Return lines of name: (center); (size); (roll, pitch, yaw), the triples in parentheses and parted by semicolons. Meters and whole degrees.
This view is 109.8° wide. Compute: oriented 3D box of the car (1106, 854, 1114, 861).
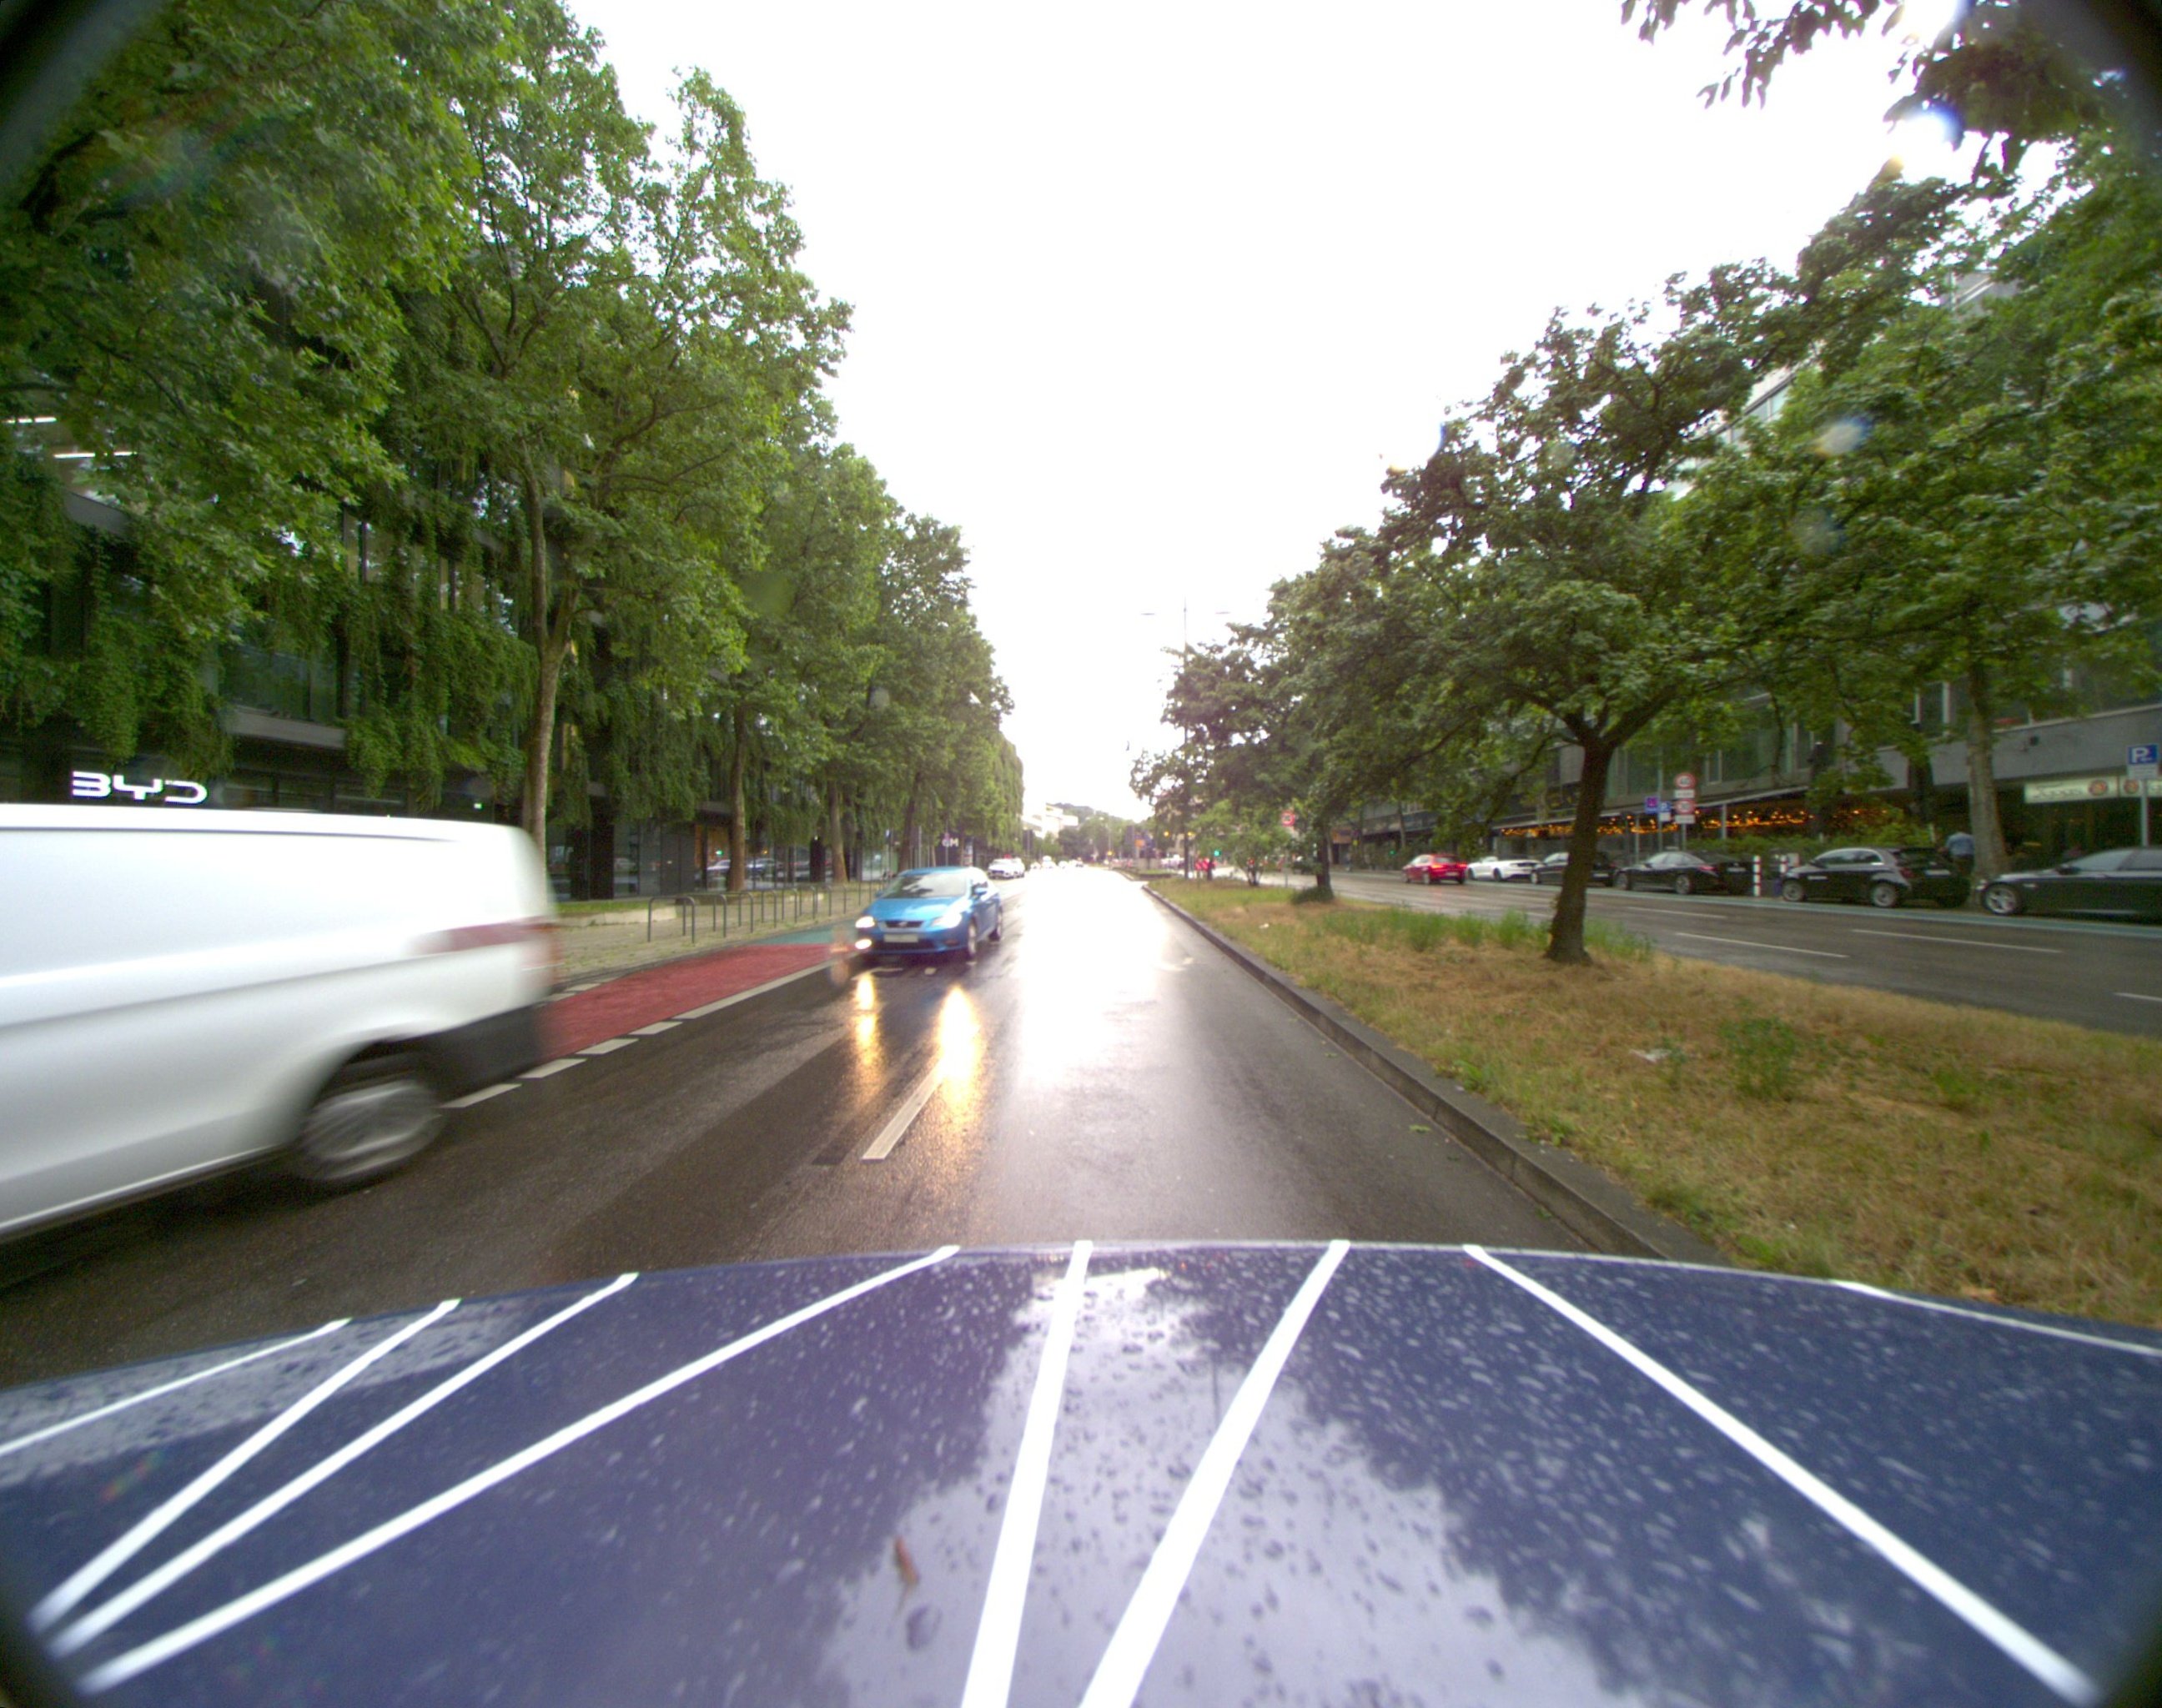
car: (8.157, 1.051, 212.852); (1.998, 1.838, 4.000); (-2, 1, 4)

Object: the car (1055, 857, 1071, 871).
car: (-2.194, 1.261, 95.446); (1.780, 1.546, 3.929); (-2, 1, 1)

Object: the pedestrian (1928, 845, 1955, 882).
pedestrian: (27.555, 0.307, 24.337); (0.444, 1.179, 0.468); (-1, 2, 32)

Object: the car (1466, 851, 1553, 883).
car: (20.748, 0.599, 37.018); (1.881, 1.318, 4.392); (-2, 1, 2)

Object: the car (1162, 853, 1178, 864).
car: (12.605, 0.588, 107.421); (1.678, 1.381, 3.527); (-2, 1, -2)

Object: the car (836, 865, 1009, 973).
car: (-2.483, 0.978, 12.974); (1.799, 1.428, 4.063); (-1, 1, 4)

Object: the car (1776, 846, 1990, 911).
car: (20.014, 0.559, 19.190); (1.875, 1.414, 3.400); (-2, 1, 2)

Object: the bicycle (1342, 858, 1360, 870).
bicycle: (21.208, 0.775, 59.670); (0.715, 0.838, 2.231); (-2, 1, 4)

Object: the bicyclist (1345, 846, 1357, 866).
bicyclist: (21.191, 0.175, 59.683); (0.715, 1.561, 0.609); (-2, 1, 4)

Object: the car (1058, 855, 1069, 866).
car: (-2.709, 0.993, 120.134); (1.556, 1.534, 3.663); (-2, 1, 1)

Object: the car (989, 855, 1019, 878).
car: (-6.468, 1.019, 64.294); (1.932, 1.726, 4.598); (-2, 1, 0)

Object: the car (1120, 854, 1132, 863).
car: (7.917, 0.714, 133.550); (1.649, 1.450, 3.459); (-2, 1, -2)

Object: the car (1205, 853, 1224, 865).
car: (17.245, 0.610, 98.472); (1.678, 1.381, 3.527); (-2, 1, -2)

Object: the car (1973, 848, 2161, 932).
car: (19.879, 0.627, 13.948); (1.875, 1.377, 4.537); (-2, 1, 5)

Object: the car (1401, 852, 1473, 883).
car: (17.082, 0.629, 36.643); (1.765, 1.318, 3.738); (-2, 1, 2)

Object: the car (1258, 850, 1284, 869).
car: (18.686, 0.488, 74.870); (1.752, 1.716, 3.859); (-2, 1, 4)

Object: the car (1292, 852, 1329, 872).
car: (18.046, 0.569, 60.009); (1.868, 1.408, 4.105); (-2, 1, 4)

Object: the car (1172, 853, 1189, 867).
car: (12.565, 0.762, 96.356); (1.881, 1.567, 3.820); (-2, 1, 3)

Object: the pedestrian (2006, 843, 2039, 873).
pedestrian: (27.938, 0.117, 22.559); (0.440, 0.845, 0.433); (-2, 1, -1)

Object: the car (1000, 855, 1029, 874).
car: (-6.088, 0.987, 70.366); (2.036, 1.553, 4.585); (-2, 1, 2)

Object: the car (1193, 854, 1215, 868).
car: (13.537, 0.798, 83.606); (1.678, 1.381, 3.527); (-2, 1, -2)

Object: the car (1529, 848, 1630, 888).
car: (20.497, 0.541, 31.419); (1.750, 1.445, 3.788); (-2, 1, 2)

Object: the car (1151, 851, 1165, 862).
car: (12.254, 0.392, 121.064); (1.678, 1.621, 3.527); (-2, 1, -2)

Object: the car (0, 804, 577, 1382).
car: (-4.746, 0.830, 2.386); (1.921, 1.934, 4.971); (-1, 1, 23)

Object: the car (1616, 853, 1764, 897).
car: (20.160, 0.629, 25.427); (1.647, 1.232, 4.319); (-2, 1, 3)

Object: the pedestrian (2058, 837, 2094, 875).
pedestrian: (27.750, 0.055, 21.193); (0.464, 1.010, 0.424); (-2, 1, -1)
